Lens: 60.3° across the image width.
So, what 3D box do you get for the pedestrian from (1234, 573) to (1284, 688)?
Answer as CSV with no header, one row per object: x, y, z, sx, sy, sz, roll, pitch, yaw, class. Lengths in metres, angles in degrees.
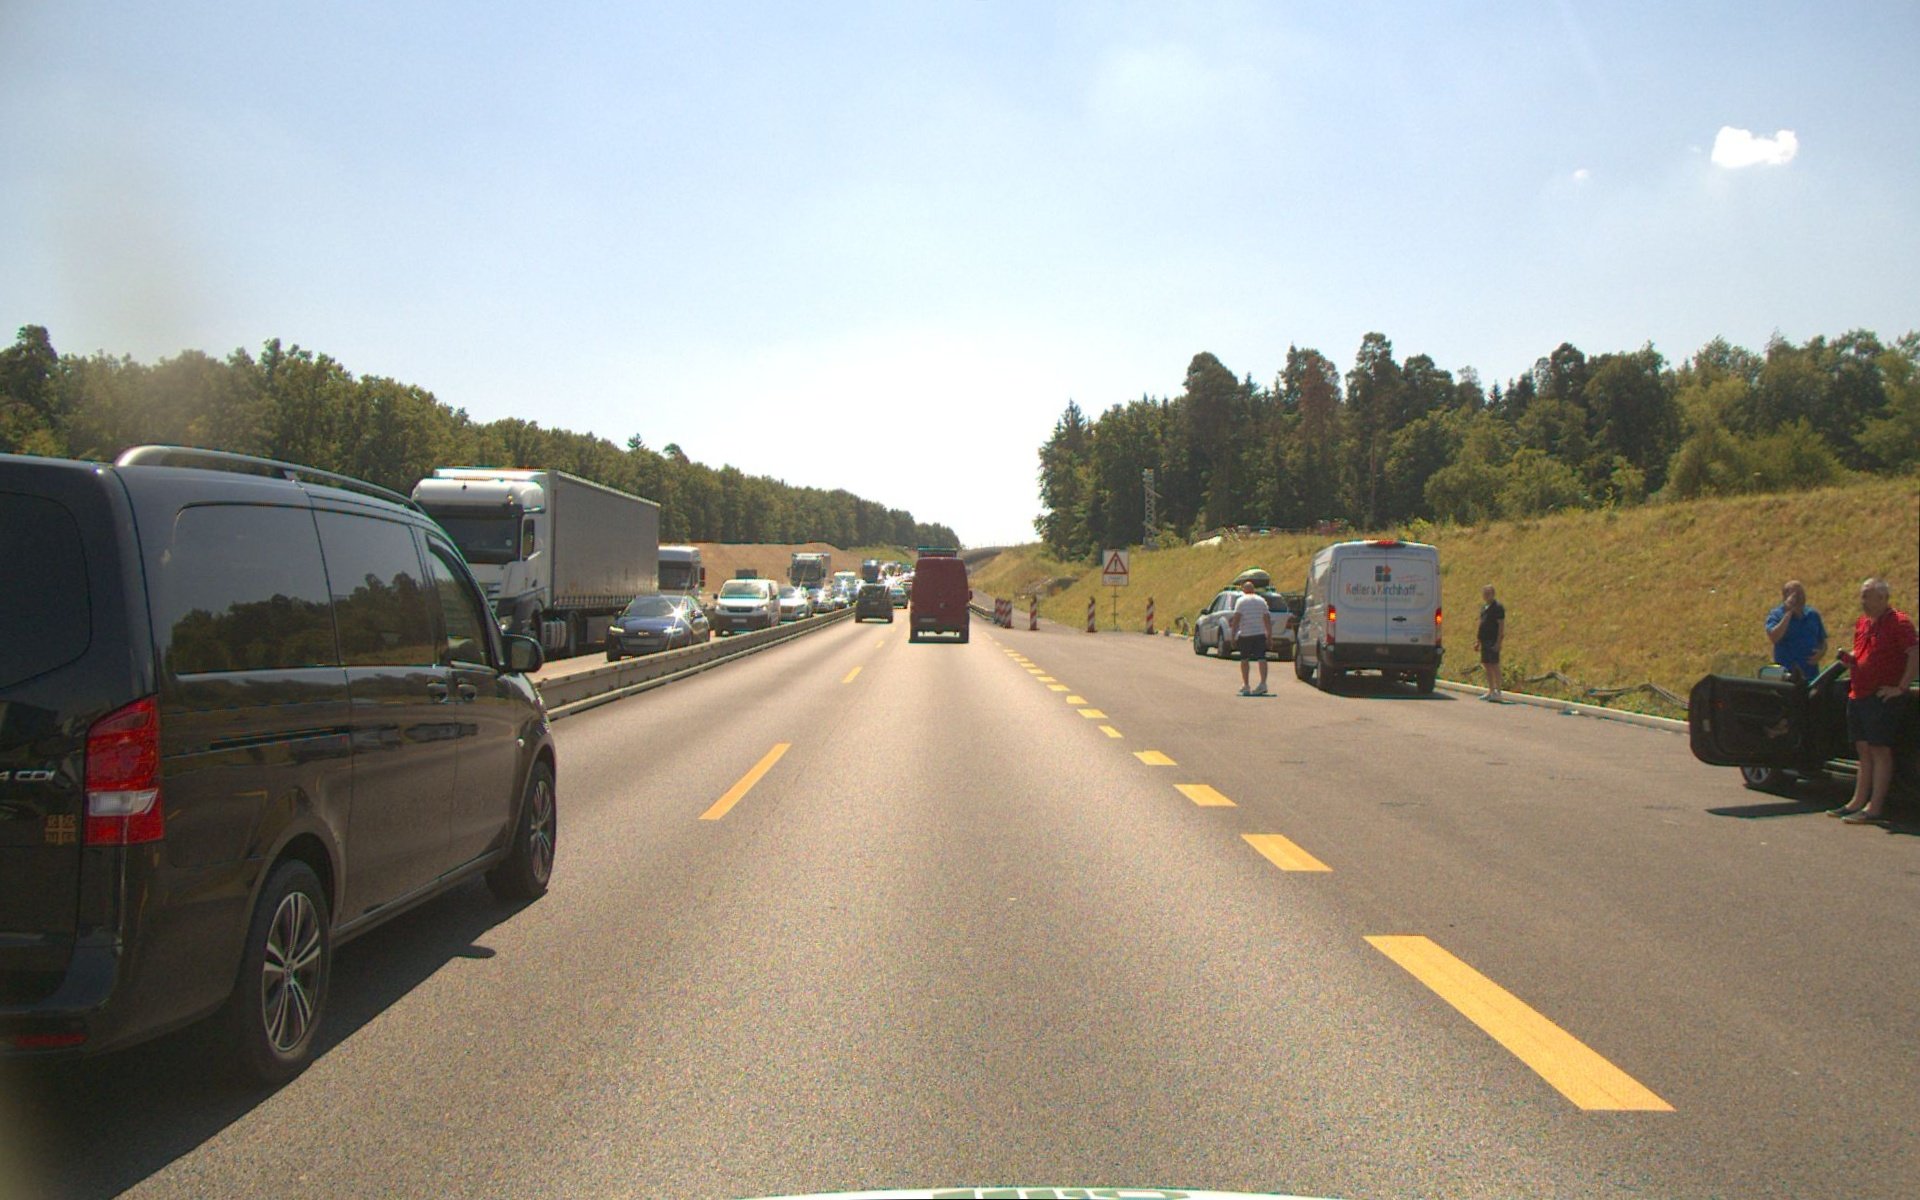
4.923,0.508,27.282,0.708,1.860,0.720,1,-1,4,pedestrian

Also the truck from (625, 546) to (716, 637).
-10.401,-0.264,59.824,2.349,3.112,5.061,1,-1,0,truck

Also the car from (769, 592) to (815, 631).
-7.444,0.540,73.640,1.690,1.659,4.389,1,-1,-2,car

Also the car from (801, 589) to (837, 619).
-7.814,0.234,92.088,1.591,1.584,4.069,1,-1,1,car

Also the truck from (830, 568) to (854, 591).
-13.201,-2.300,185.073,2.351,2.399,5.226,1,-1,0,truck

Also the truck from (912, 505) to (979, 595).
-1.079,-3.343,118.201,4.311,5.592,16.598,1,-1,-1,truck

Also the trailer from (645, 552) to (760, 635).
-10.291,-0.207,67.839,2.298,2.983,15.268,1,0,0,trailer

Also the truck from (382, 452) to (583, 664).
-9.905,-0.787,34.831,2.712,4.115,4.942,1,-1,0,truck

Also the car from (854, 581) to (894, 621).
-4.182,0.024,81.038,1.716,1.856,4.781,1,0,-1,car

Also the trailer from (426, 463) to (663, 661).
-10.029,-0.828,41.848,2.734,4.146,13.707,1,0,-1,trailer

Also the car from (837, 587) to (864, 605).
-8.783,-0.342,132.949,1.803,1.351,3.942,1,-1,0,car

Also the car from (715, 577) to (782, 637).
-7.322,0.284,57.673,1.788,1.960,5.261,1,-1,-2,car

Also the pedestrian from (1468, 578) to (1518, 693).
8.637,0.575,26.811,0.552,1.827,0.667,1,-1,-3,pedestrian

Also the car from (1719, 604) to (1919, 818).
7.660,0.806,12.595,1.620,1.451,4.544,-2,0,0,car

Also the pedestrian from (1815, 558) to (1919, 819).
6.778,0.635,12.177,0.631,1.860,0.555,1,0,-22,pedestrian

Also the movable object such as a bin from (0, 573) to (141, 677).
-29.932,0.761,54.629,2.124,3.163,7.164,-2,0,0,movable object such as a bin

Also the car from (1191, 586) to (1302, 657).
7.561,0.527,44.063,1.739,1.706,4.851,2,1,-4,car

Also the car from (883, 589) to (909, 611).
-4.715,-0.002,121.509,1.794,1.549,3.960,1,-1,-1,car

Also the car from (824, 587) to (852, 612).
-8.094,-0.015,109.611,1.649,1.624,3.223,1,-1,-1,car

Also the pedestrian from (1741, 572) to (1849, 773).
7.887,0.671,15.644,0.613,1.860,0.640,1,0,-13,pedestrian

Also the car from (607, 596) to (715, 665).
-6.572,0.676,36.773,1.692,1.411,4.482,1,-1,-2,car

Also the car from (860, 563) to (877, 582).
-13.465,-4.115,244.181,2.337,2.625,3.998,1,-1,-2,car

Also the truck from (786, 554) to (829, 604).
-11.895,-1.582,129.897,2.457,3.680,9.639,1,-1,0,truck

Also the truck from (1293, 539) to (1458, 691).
7.524,0.228,30.561,2.084,2.500,5.929,1,0,6,truck

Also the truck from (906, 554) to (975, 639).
-0.676,-0.085,54.743,2.109,2.635,5.331,1,-1,-1,truck

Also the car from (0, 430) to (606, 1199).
-2.892,0.540,6.570,1.836,1.883,5.477,1,0,-1,car
